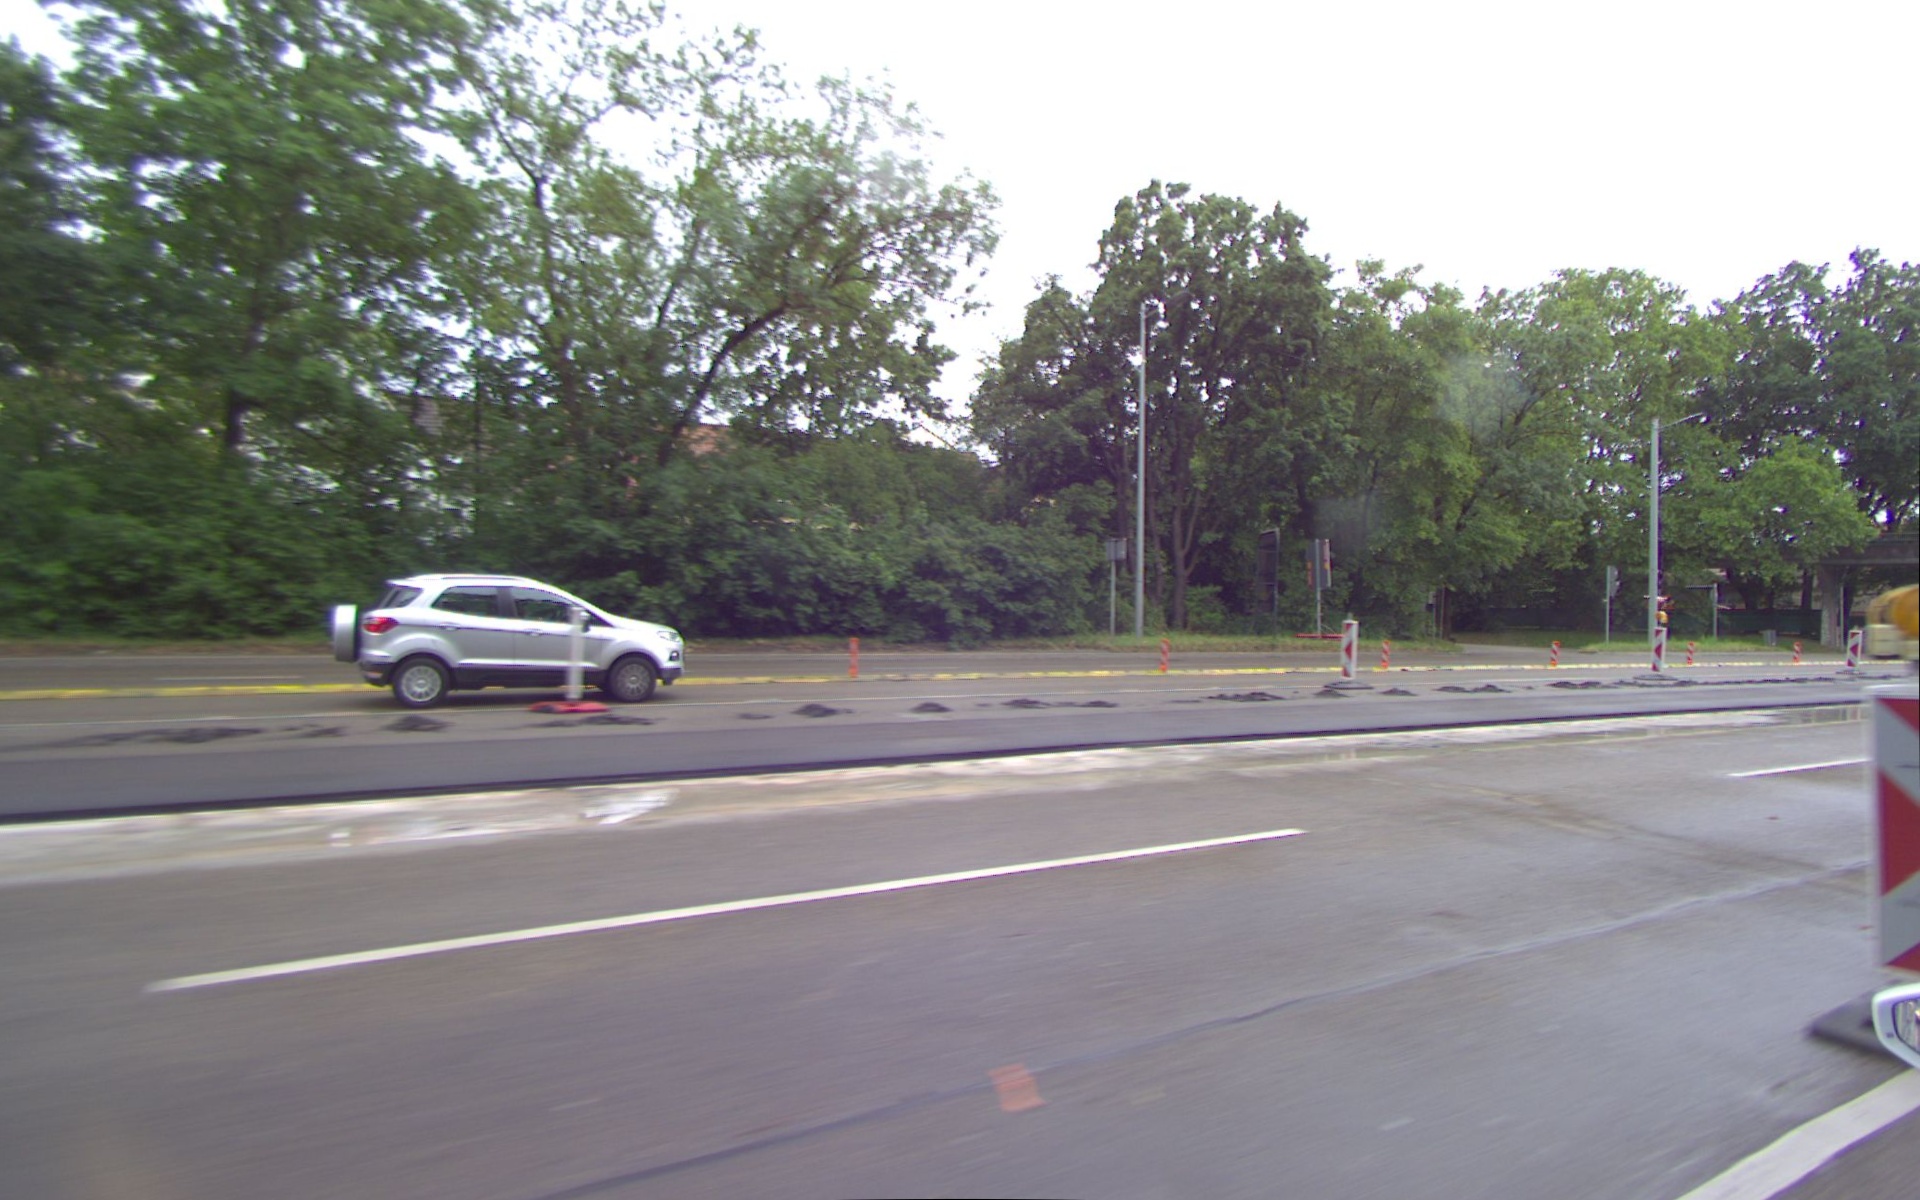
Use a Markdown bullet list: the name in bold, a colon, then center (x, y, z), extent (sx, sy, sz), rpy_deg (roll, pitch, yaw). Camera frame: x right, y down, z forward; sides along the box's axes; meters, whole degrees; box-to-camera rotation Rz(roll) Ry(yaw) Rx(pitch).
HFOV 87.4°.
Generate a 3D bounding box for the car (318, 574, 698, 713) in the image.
- **car**: center (-5.866, 0.519, 13.336), extent (4.309, 1.585, 1.881), rpy_deg (1, 1, -28)
